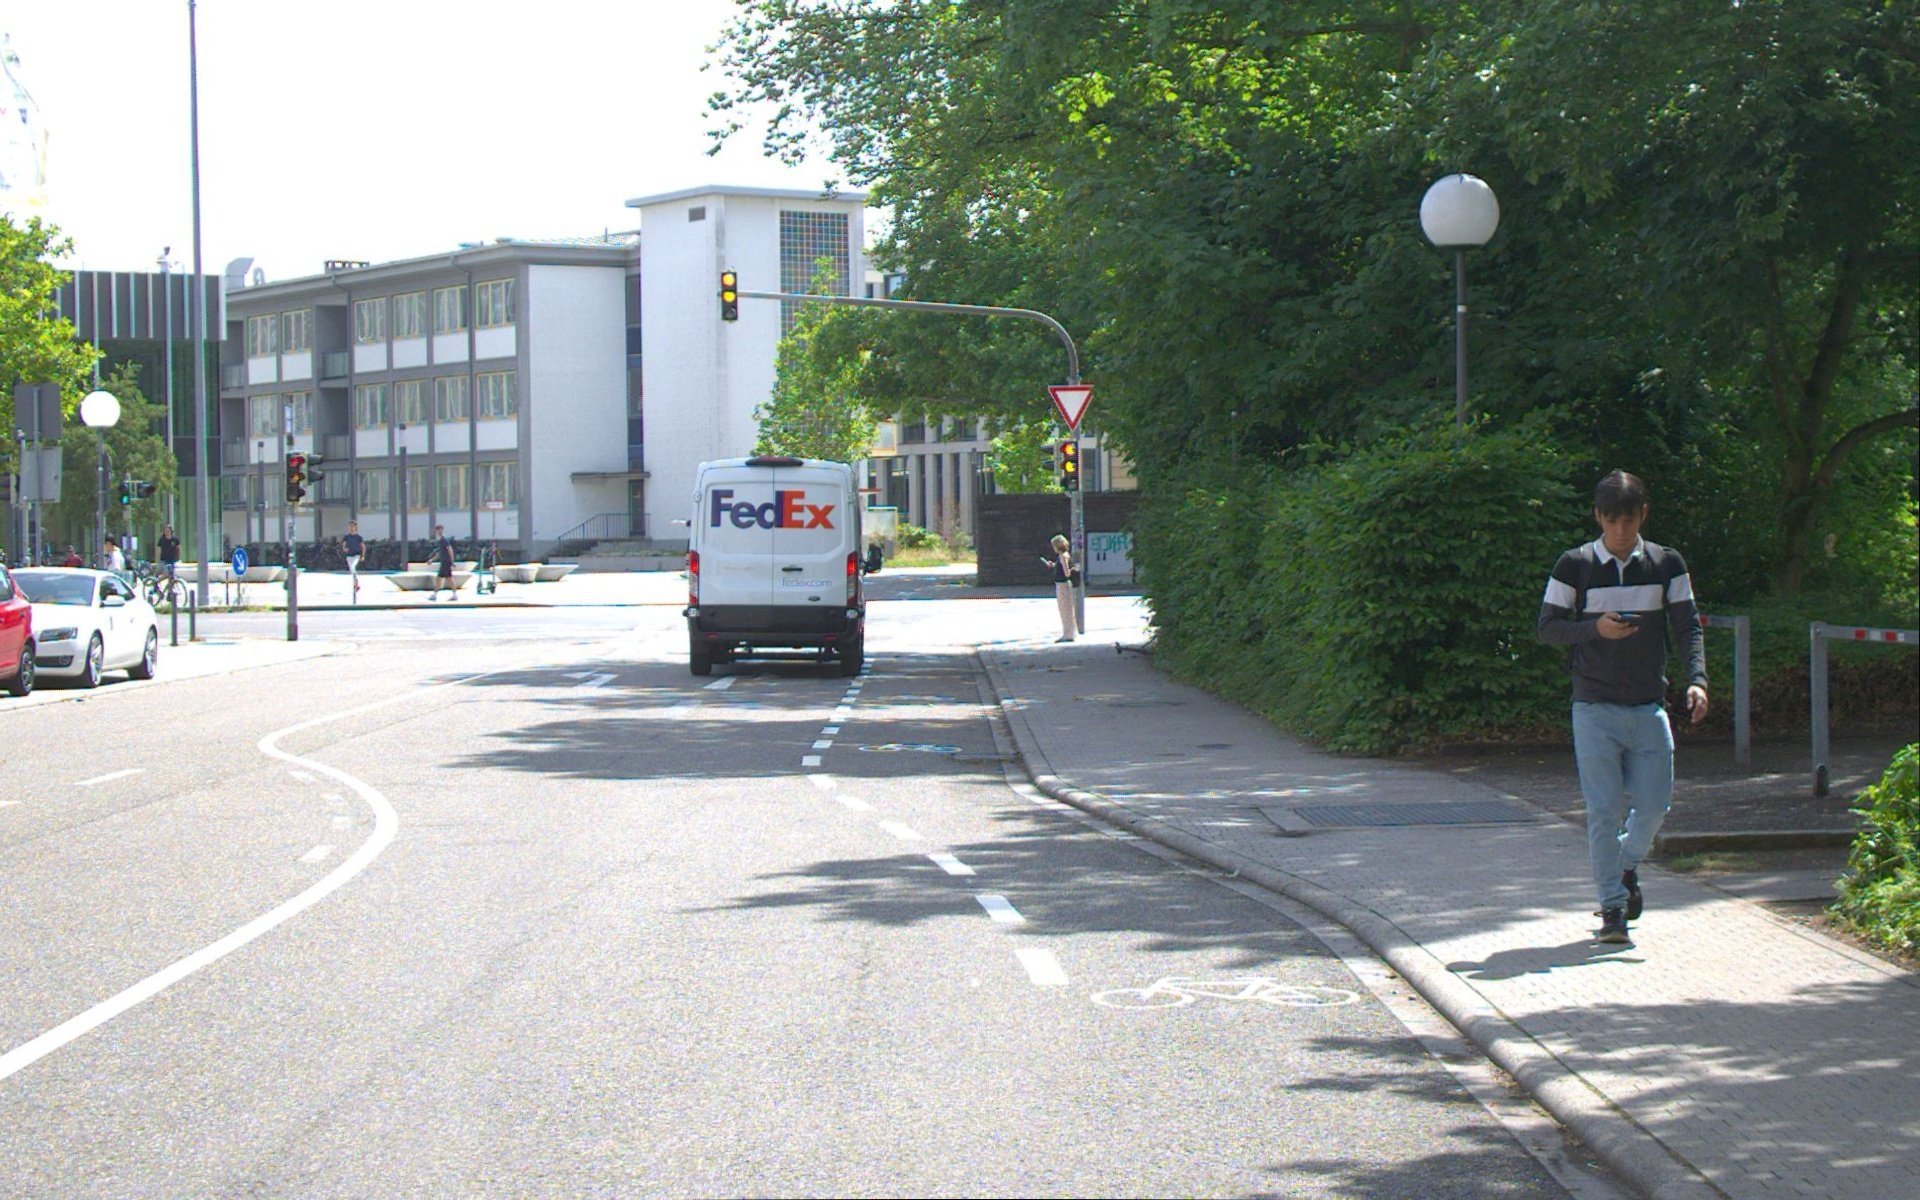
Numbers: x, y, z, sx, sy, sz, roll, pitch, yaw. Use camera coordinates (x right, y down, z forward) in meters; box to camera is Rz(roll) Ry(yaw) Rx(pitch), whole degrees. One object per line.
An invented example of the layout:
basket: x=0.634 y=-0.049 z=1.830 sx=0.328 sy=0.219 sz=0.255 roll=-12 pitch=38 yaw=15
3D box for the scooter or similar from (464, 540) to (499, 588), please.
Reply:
scooter or similar: x=-12.087 y=-0.924 z=86.826 sx=0.716 sy=1.174 sz=2.726 roll=-1 pitch=1 yaw=-11

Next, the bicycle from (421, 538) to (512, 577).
bicycle: x=-17.086 y=-1.478 z=119.174 sx=2.956 sy=1.359 sz=1.117 roll=0 pitch=1 yaw=-38

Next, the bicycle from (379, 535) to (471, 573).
bicycle: x=-18.898 y=-1.627 z=121.535 sx=2.956 sy=1.359 sz=1.275 roll=0 pitch=1 yaw=-38

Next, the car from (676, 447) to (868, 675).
car: x=-2.206 y=-0.511 z=41.750 sx=2.095 sy=2.558 sz=5.603 roll=-1 pitch=1 yaw=-1

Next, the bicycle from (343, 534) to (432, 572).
bicycle: x=-20.592 y=-1.705 z=123.711 sx=2.956 sy=1.359 sz=1.117 roll=0 pitch=1 yaw=-38

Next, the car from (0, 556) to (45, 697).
car: x=-10.959 y=0.276 z=35.974 sx=1.676 sy=1.462 sz=3.911 roll=2 pitch=1 yaw=0

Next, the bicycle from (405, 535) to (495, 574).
bicycle: x=-17.838 y=-1.603 z=120.272 sx=2.956 sy=1.359 sz=1.117 roll=0 pitch=1 yaw=-38

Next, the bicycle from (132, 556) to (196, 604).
bicycle: x=-19.294 y=-0.487 z=83.379 sx=0.771 sy=1.118 sz=2.025 roll=-1 pitch=1 yaw=10

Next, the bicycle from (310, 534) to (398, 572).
bicycle: x=-22.173 y=-1.713 z=125.821 sx=2.956 sy=1.359 sz=1.117 roll=0 pitch=1 yaw=-38

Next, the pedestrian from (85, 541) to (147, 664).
pedestrian: x=-12.931 y=0.031 z=52.682 sx=0.719 sy=1.853 sz=0.770 roll=0 pitch=1 yaw=1

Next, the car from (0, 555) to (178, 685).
car: x=-10.782 y=0.197 z=41.265 sx=1.676 sy=1.390 sz=4.662 roll=2 pitch=1 yaw=0

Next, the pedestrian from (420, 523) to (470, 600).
pedestrian: x=-12.585 y=-0.942 z=84.023 sx=1.080 sy=1.864 sz=0.832 roll=-1 pitch=1 yaw=-2

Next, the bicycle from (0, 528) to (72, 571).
bicycle: x=-27.207 y=-1.488 z=100.258 sx=2.949 sy=1.233 sz=1.198 roll=1 pitch=1 yaw=44

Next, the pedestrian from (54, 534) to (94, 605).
pedestrian: x=-20.971 y=-0.721 z=81.371 sx=0.753 sy=1.672 sz=0.755 roll=-1 pitch=1 yaw=-3

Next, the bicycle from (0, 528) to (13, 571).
bicycle: x=-28.597 y=-1.462 z=99.656 sx=1.197 sy=1.233 sz=2.950 roll=0 pitch=1 yaw=-38

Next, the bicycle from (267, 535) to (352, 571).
bicycle: x=-24.361 y=-1.762 z=128.740 sx=2.956 sy=1.359 sz=1.117 roll=0 pitch=1 yaw=-38

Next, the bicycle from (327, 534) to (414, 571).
bicycle: x=-21.392 y=-1.722 z=124.767 sx=2.956 sy=1.359 sz=1.117 roll=0 pitch=1 yaw=-38

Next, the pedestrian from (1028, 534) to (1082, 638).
pedestrian: x=1.454 y=-0.221 z=52.651 sx=0.731 sy=1.570 sz=0.776 roll=1 pitch=1 yaw=-5

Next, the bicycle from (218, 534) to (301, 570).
bicycle: x=-27.145 y=-1.858 z=133.242 sx=2.956 sy=1.359 sz=1.117 roll=0 pitch=1 yaw=-38

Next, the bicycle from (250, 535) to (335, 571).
bicycle: x=-25.275 y=-1.789 z=130.222 sx=2.956 sy=1.359 sz=1.117 roll=0 pitch=1 yaw=-38

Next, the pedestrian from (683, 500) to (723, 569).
pedestrian: x=-7.079 y=-1.796 z=94.549 sx=0.865 sy=1.882 sz=0.913 roll=-1 pitch=1 yaw=-20

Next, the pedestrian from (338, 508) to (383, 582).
pedestrian: x=-15.609 y=-1.436 z=89.489 sx=0.703 sy=1.849 sz=1.398 roll=-1 pitch=3 yaw=9

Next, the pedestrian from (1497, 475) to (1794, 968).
pedestrian: x=2.430 y=0.401 z=12.313 sx=0.739 sy=1.669 sz=1.257 roll=0 pitch=1 yaw=-4

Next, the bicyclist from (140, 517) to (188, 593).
bicyclist: x=-19.287 y=-1.093 z=83.342 sx=0.790 sy=1.811 sz=0.999 roll=-1 pitch=1 yaw=9
